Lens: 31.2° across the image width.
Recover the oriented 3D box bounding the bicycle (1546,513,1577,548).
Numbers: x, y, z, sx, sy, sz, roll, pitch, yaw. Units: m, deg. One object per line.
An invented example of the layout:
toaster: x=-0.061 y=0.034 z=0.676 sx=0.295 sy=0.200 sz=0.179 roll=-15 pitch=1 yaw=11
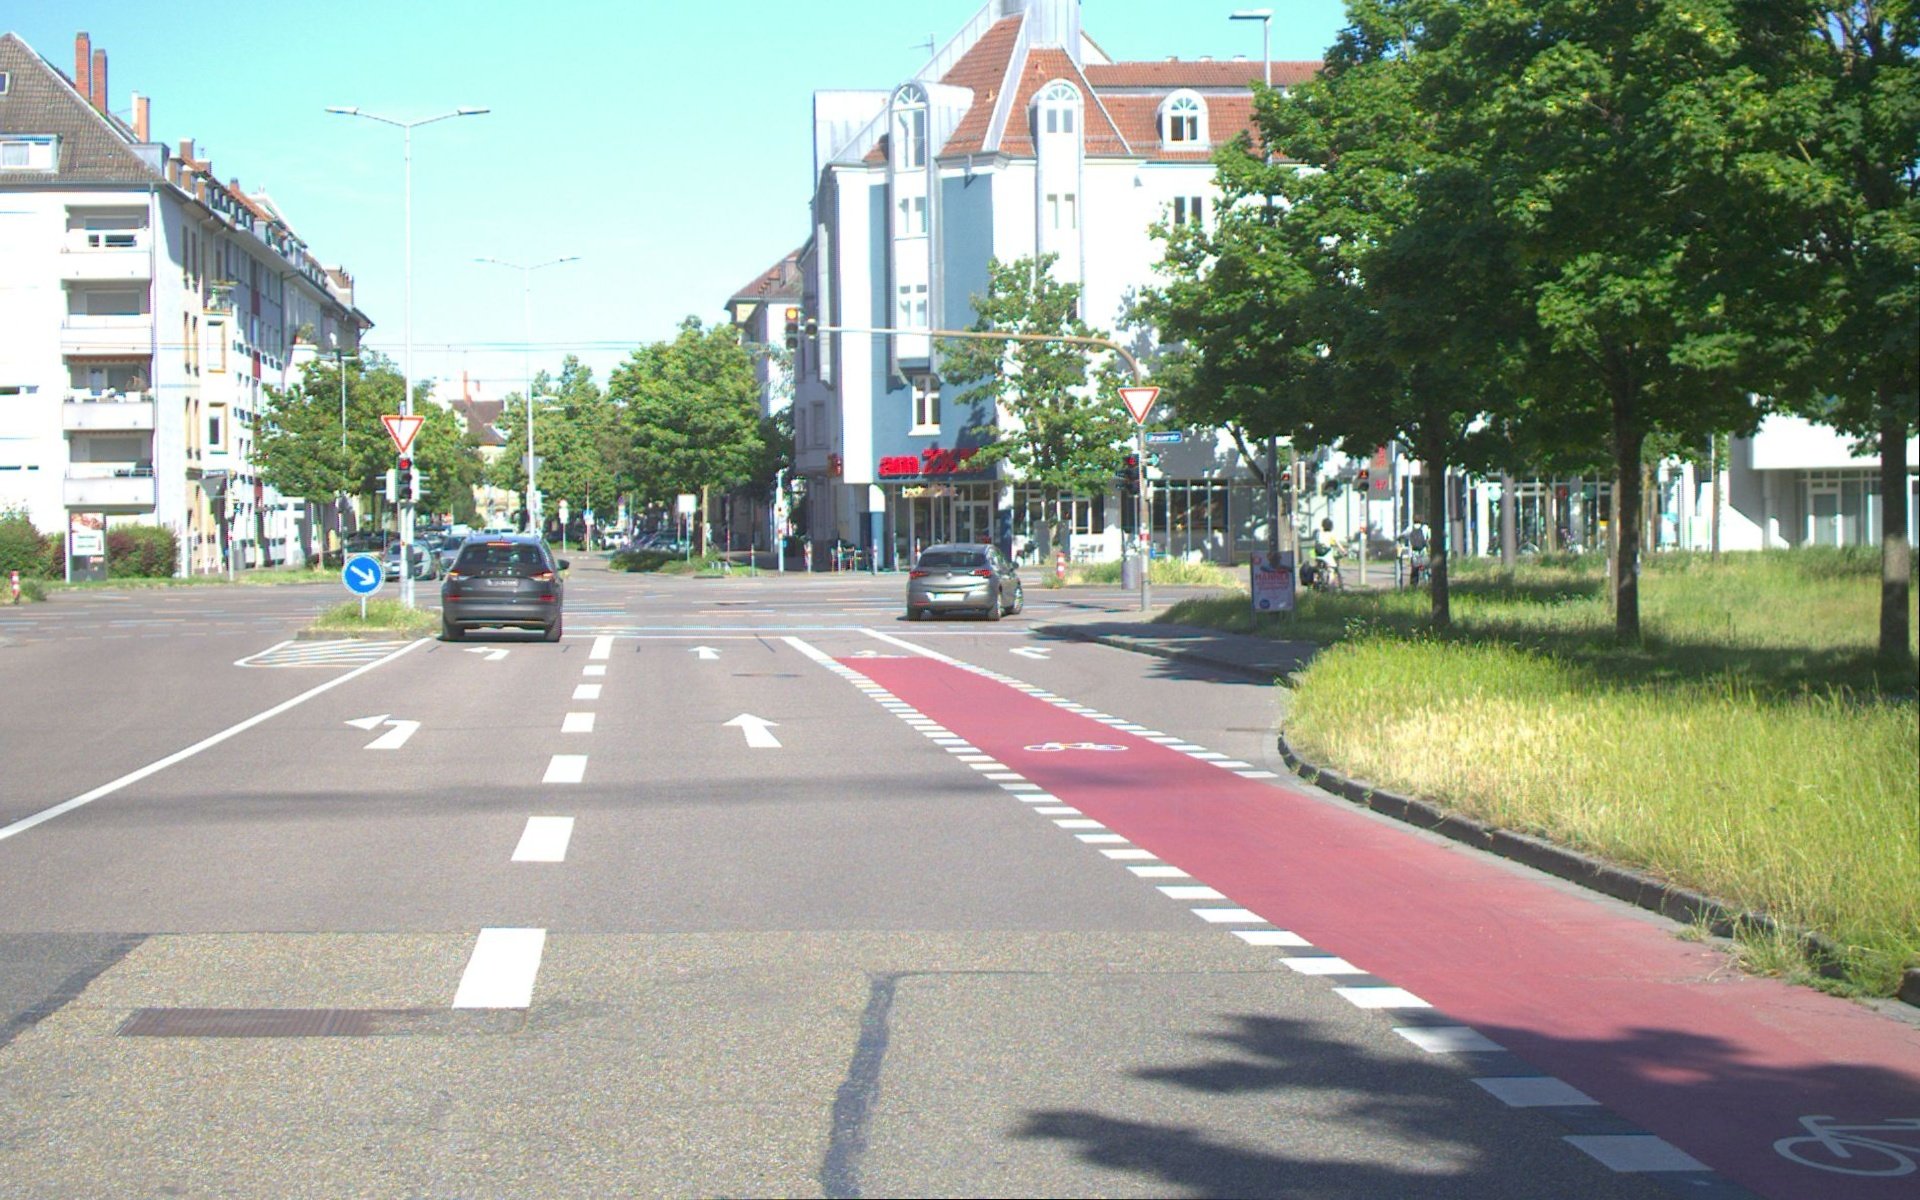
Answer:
bicycle: x=20.322 y=-2.359 z=116.104 sx=0.560 sy=1.178 sz=1.870 roll=-1 pitch=1 yaw=-4

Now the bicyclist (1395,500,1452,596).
bicyclist: x=9.570 y=-1.069 z=70.995 sx=0.792 sy=1.952 sz=1.009 roll=-1 pitch=1 yaw=32

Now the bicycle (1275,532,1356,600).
bicycle: x=7.326 y=-0.711 z=70.817 sx=0.792 sy=1.343 sz=2.075 roll=-1 pitch=1 yaw=32

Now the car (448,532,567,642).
car: x=-7.154 y=-0.240 z=54.398 sx=1.753 sy=1.622 sz=4.479 roll=1 pitch=1 yaw=-7

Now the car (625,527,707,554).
car: x=-13.573 y=-2.746 z=158.715 sx=3.566 sy=1.219 sz=1.731 roll=0 pitch=0 yaw=-12

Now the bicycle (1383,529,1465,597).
bicycle: x=9.607 y=-0.766 z=71.056 sx=0.792 sy=1.343 sz=2.259 roll=-1 pitch=2 yaw=32

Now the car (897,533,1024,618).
car: x=0.039 y=-0.483 z=66.884 sx=1.689 sy=1.572 sz=3.869 roll=2 pitch=1 yaw=11

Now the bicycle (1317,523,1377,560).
bicycle: x=12.876 y=-1.940 z=114.345 sx=1.863 sy=1.178 sz=0.562 roll=-1 pitch=1 yaw=-10

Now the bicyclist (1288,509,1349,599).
bicyclist: x=7.403 y=-0.961 z=70.937 sx=0.792 sy=1.818 sz=1.133 roll=-1 pitch=1 yaw=32

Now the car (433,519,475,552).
car: x=-24.606 y=-3.116 z=167.269 sx=1.753 sy=1.551 sz=3.731 roll=1 pitch=1 yaw=-4
